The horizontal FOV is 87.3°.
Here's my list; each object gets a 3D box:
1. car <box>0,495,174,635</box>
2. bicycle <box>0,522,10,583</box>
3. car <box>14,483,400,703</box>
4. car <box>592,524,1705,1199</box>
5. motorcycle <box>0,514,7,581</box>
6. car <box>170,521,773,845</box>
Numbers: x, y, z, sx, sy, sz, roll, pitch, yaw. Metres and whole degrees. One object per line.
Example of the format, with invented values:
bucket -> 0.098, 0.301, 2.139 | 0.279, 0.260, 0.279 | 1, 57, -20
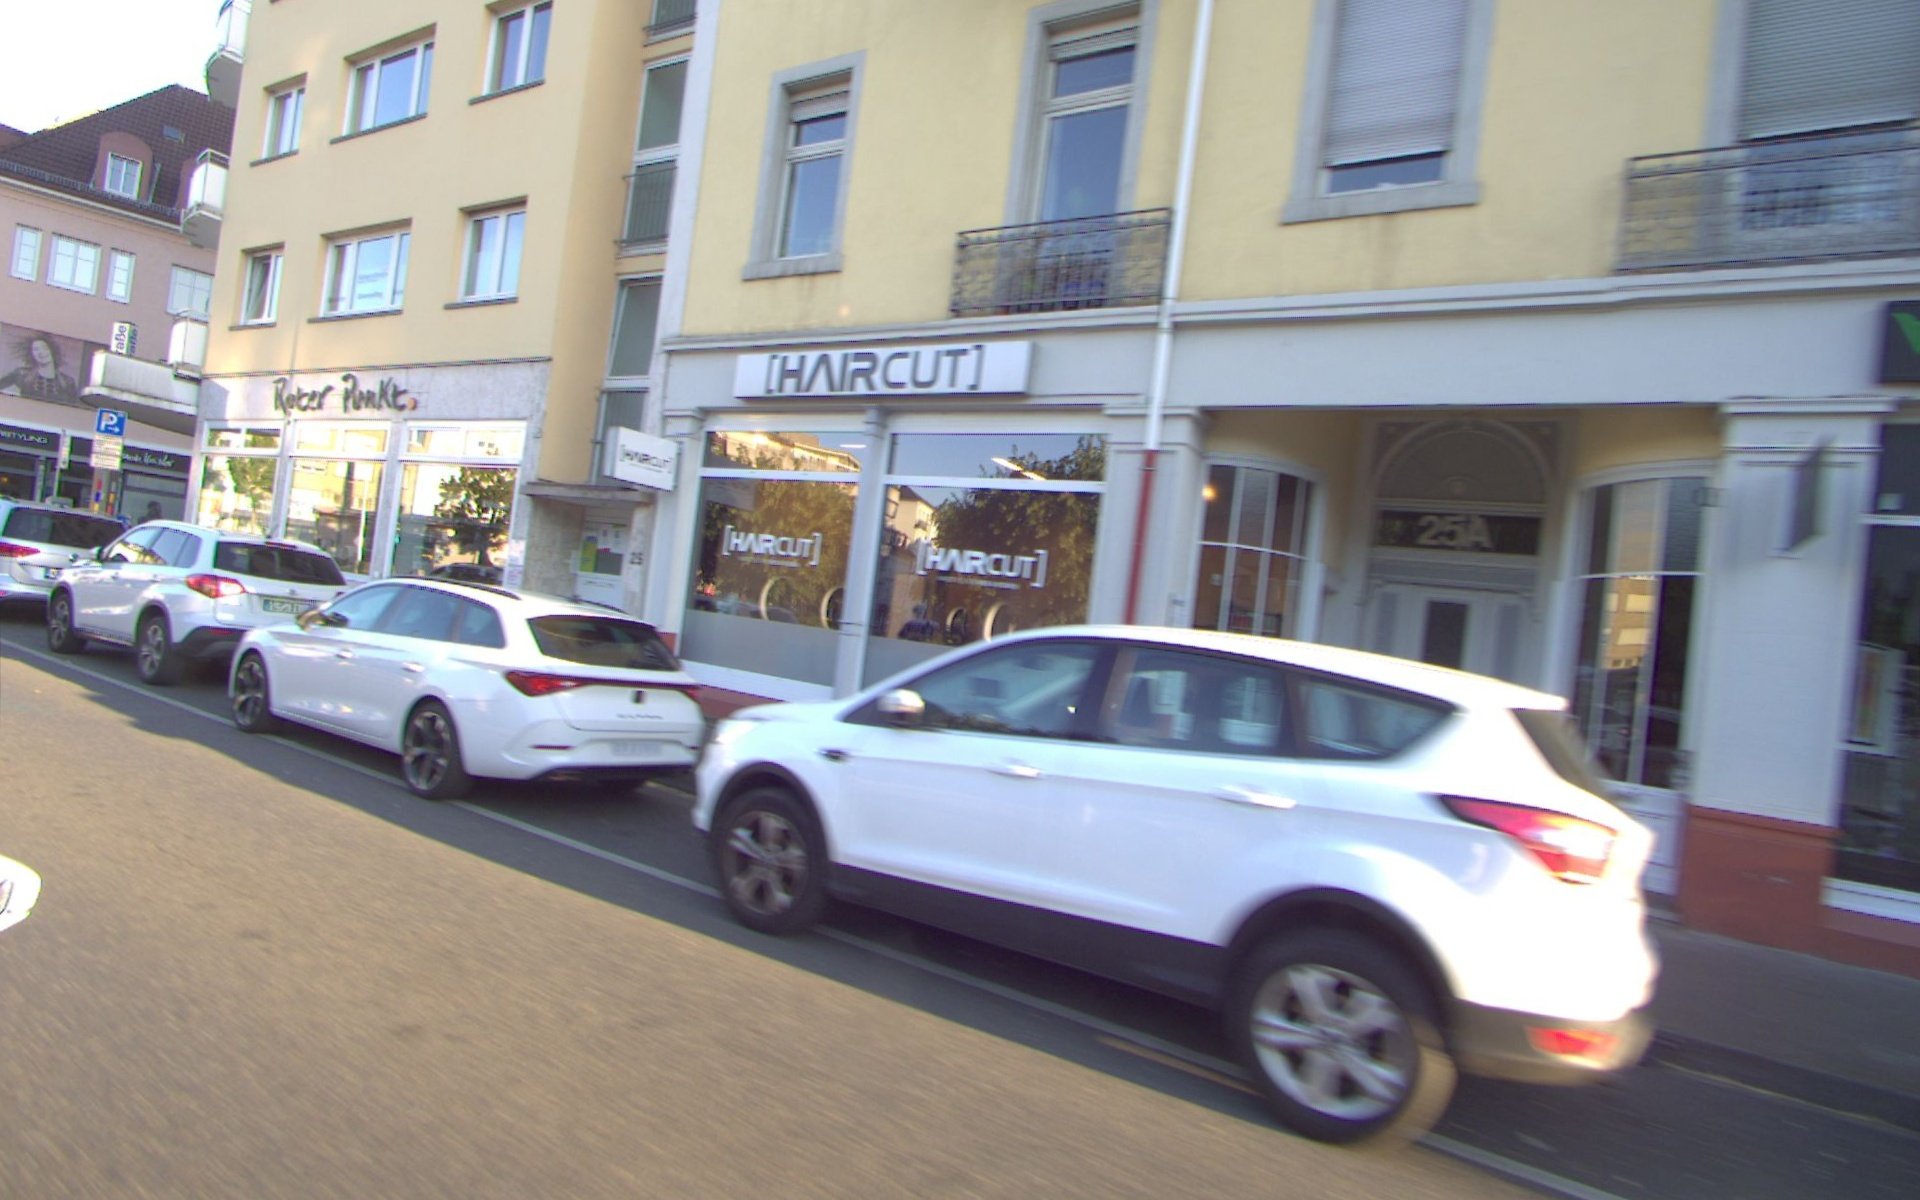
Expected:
car -> -13.667, -0.641, 14.496 | 4.723, 1.631, 1.998 | 6, -2, 31
bicycle -> -18.610, -0.977, 18.210 | 0.583, 1.126, 1.888 | 7, -1, 29
car -> -8.510, -0.117, 11.283 | 4.334, 1.783, 1.871 | 8, -1, 32
car -> 0.579, 0.838, 4.921 | 4.582, 1.765, 1.885 | 8, -1, 32
motorcycle -> -17.997, -0.997, 17.527 | 0.704, 1.278, 1.815 | 7, 0, 29
car -> -4.049, 0.486, 8.060 | 4.789, 1.561, 2.019 | 8, -1, 33
